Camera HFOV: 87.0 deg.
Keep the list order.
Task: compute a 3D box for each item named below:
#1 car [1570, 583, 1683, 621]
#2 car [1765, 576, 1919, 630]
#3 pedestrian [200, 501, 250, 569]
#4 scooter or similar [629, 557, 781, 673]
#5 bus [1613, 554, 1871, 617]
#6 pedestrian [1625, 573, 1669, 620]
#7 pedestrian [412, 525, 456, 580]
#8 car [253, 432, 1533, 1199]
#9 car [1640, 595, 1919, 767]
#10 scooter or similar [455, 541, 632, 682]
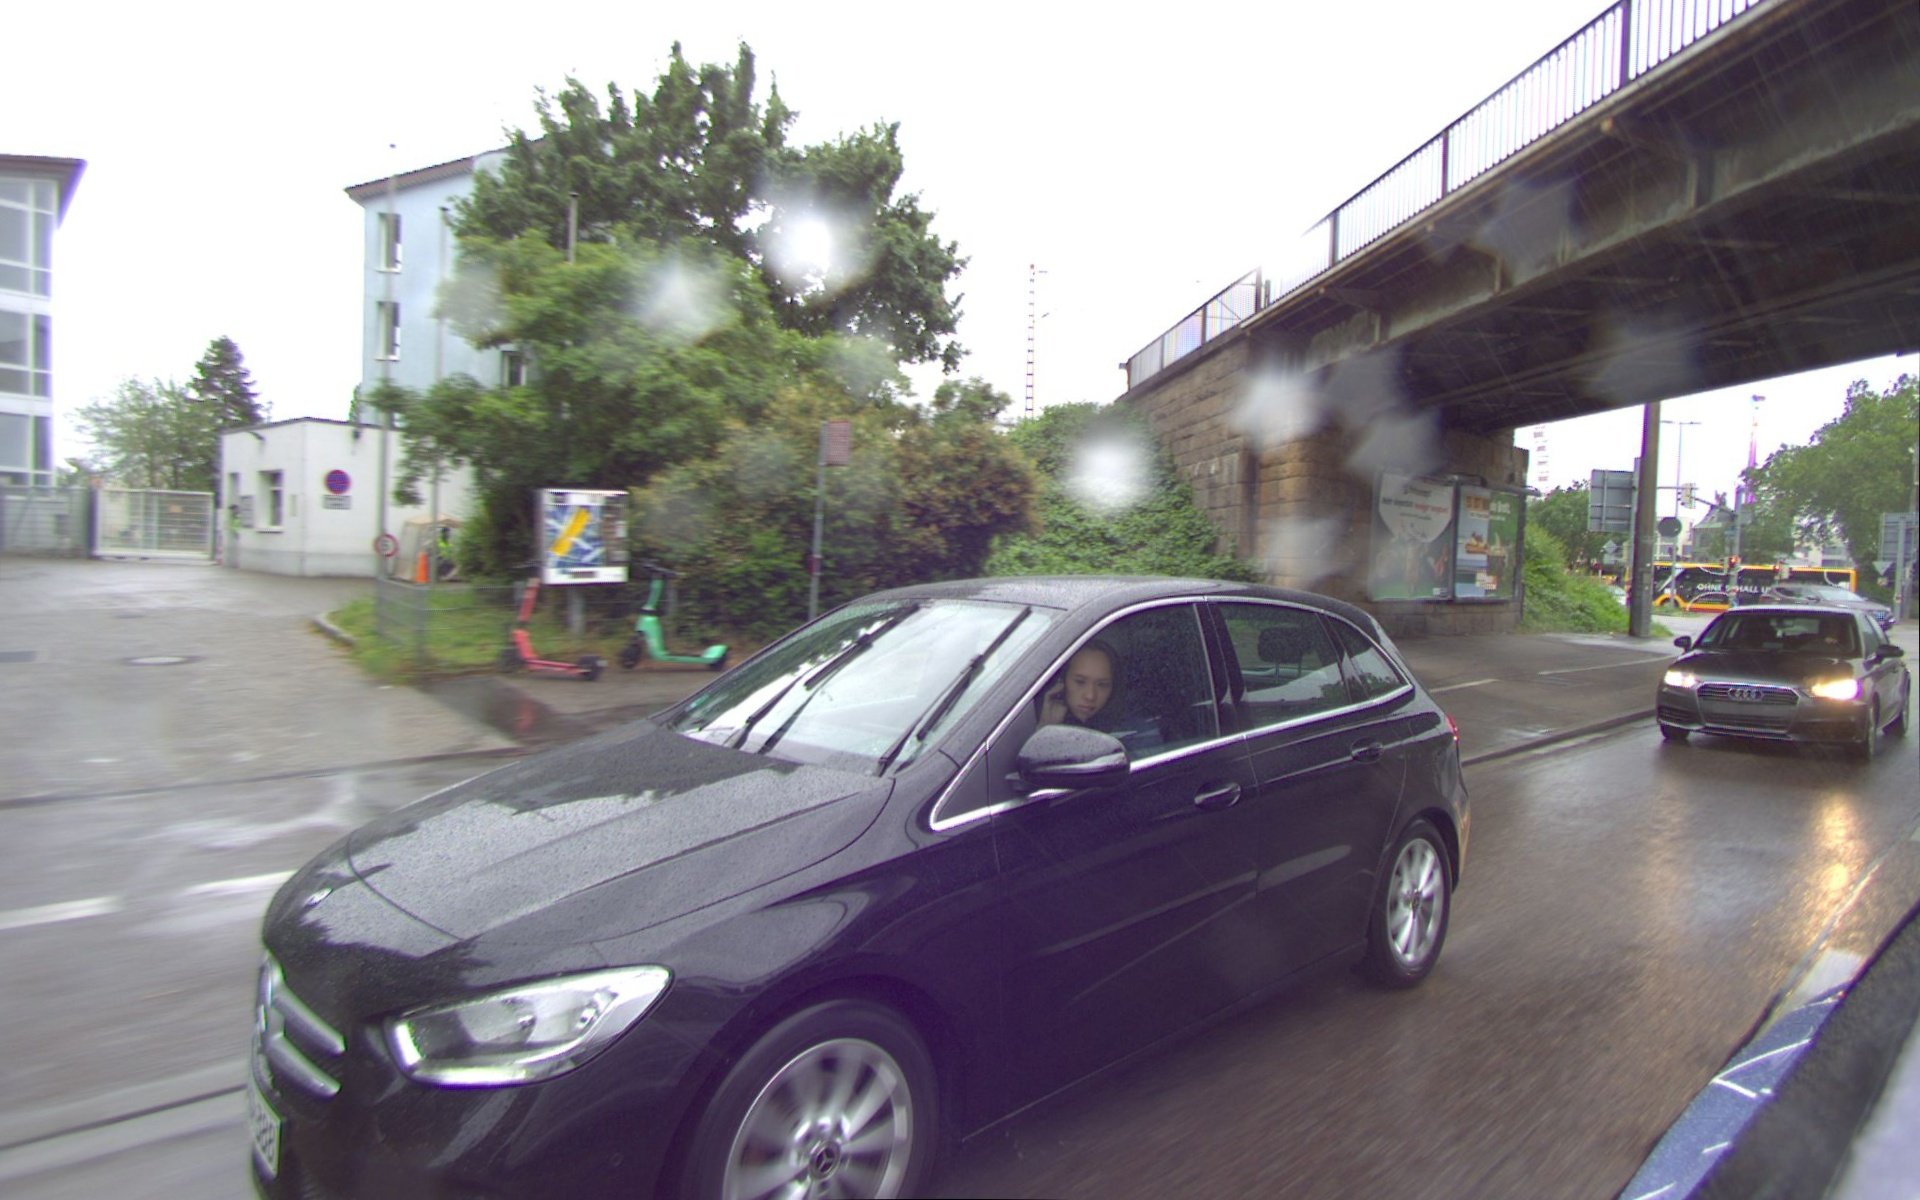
[{"bbox_3d":[29.040,0.071,44.255,1.860,1.365,4.008,2,3,-8],"label":"car"},{"bbox_3d":[31.889,0.055,36.754,1.991,1.677,4.061,2,3,2],"label":"car"},{"bbox_3d":[-19.624,-1.727,27.008,0.927,1.757,0.912,4,3,42],"label":"pedestrian"},{"bbox_3d":[-2.890,0.166,11.439,1.515,1.192,0.775,2,4,-23],"label":"scooter or similar"},{"bbox_3d":[48.422,-0.987,63.301,12.151,3.308,3.251,3,2,23],"label":"bus"},{"bbox_3d":[26.096,-0.134,38.449,0.984,1.740,0.822,2,2,-13],"label":"pedestrian"},{"bbox_3d":[-13.059,-1.170,25.122,0.856,1.310,0.696,4,3,40],"label":"pedestrian"},{"bbox_3d":[0.107,0.478,3.463,4.014,1.542,1.875,0,3,-40],"label":"car"},{"bbox_3d":[8.850,0.690,10.644,3.687,1.415,1.840,0,2,-40],"label":"car"},{"bbox_3d":[-4.277,0.097,10.476,1.528,1.325,0.711,2,6,0],"label":"scooter or similar"}]
